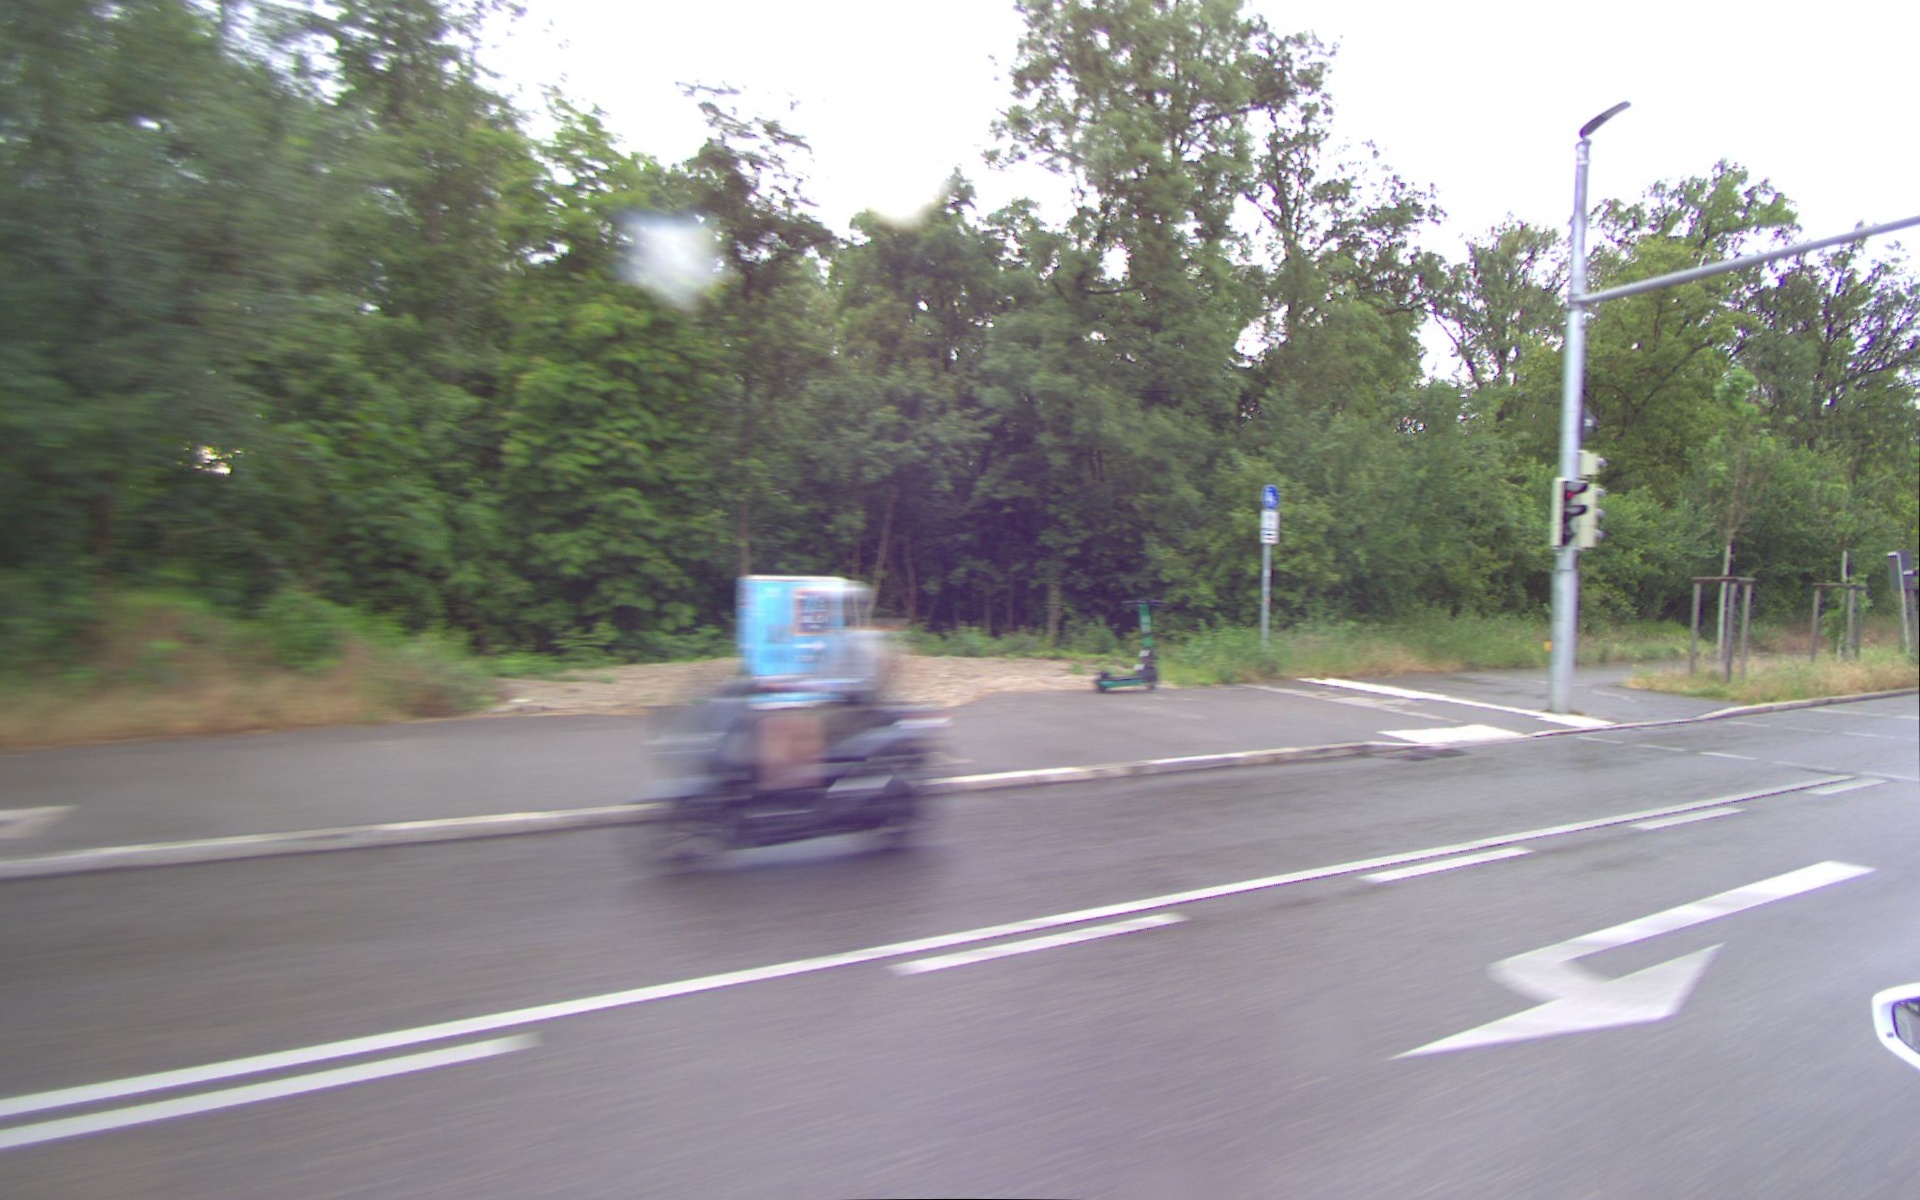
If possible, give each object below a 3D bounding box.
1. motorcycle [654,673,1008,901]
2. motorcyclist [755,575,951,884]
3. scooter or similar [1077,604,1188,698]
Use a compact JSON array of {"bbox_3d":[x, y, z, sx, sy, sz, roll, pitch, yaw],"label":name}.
[{"bbox_3d":[-0.711,1.008,5.868,1.975,1.065,0.591,1,0,-30],"label":"motorcycle"},{"bbox_3d":[-0.640,0.694,5.917,0.916,1.654,0.742,0,0,-30],"label":"motorcyclist"},{"bbox_3d":[2.371,0.680,13.765,1.450,1.229,0.515,1,2,-26],"label":"scooter or similar"}]
